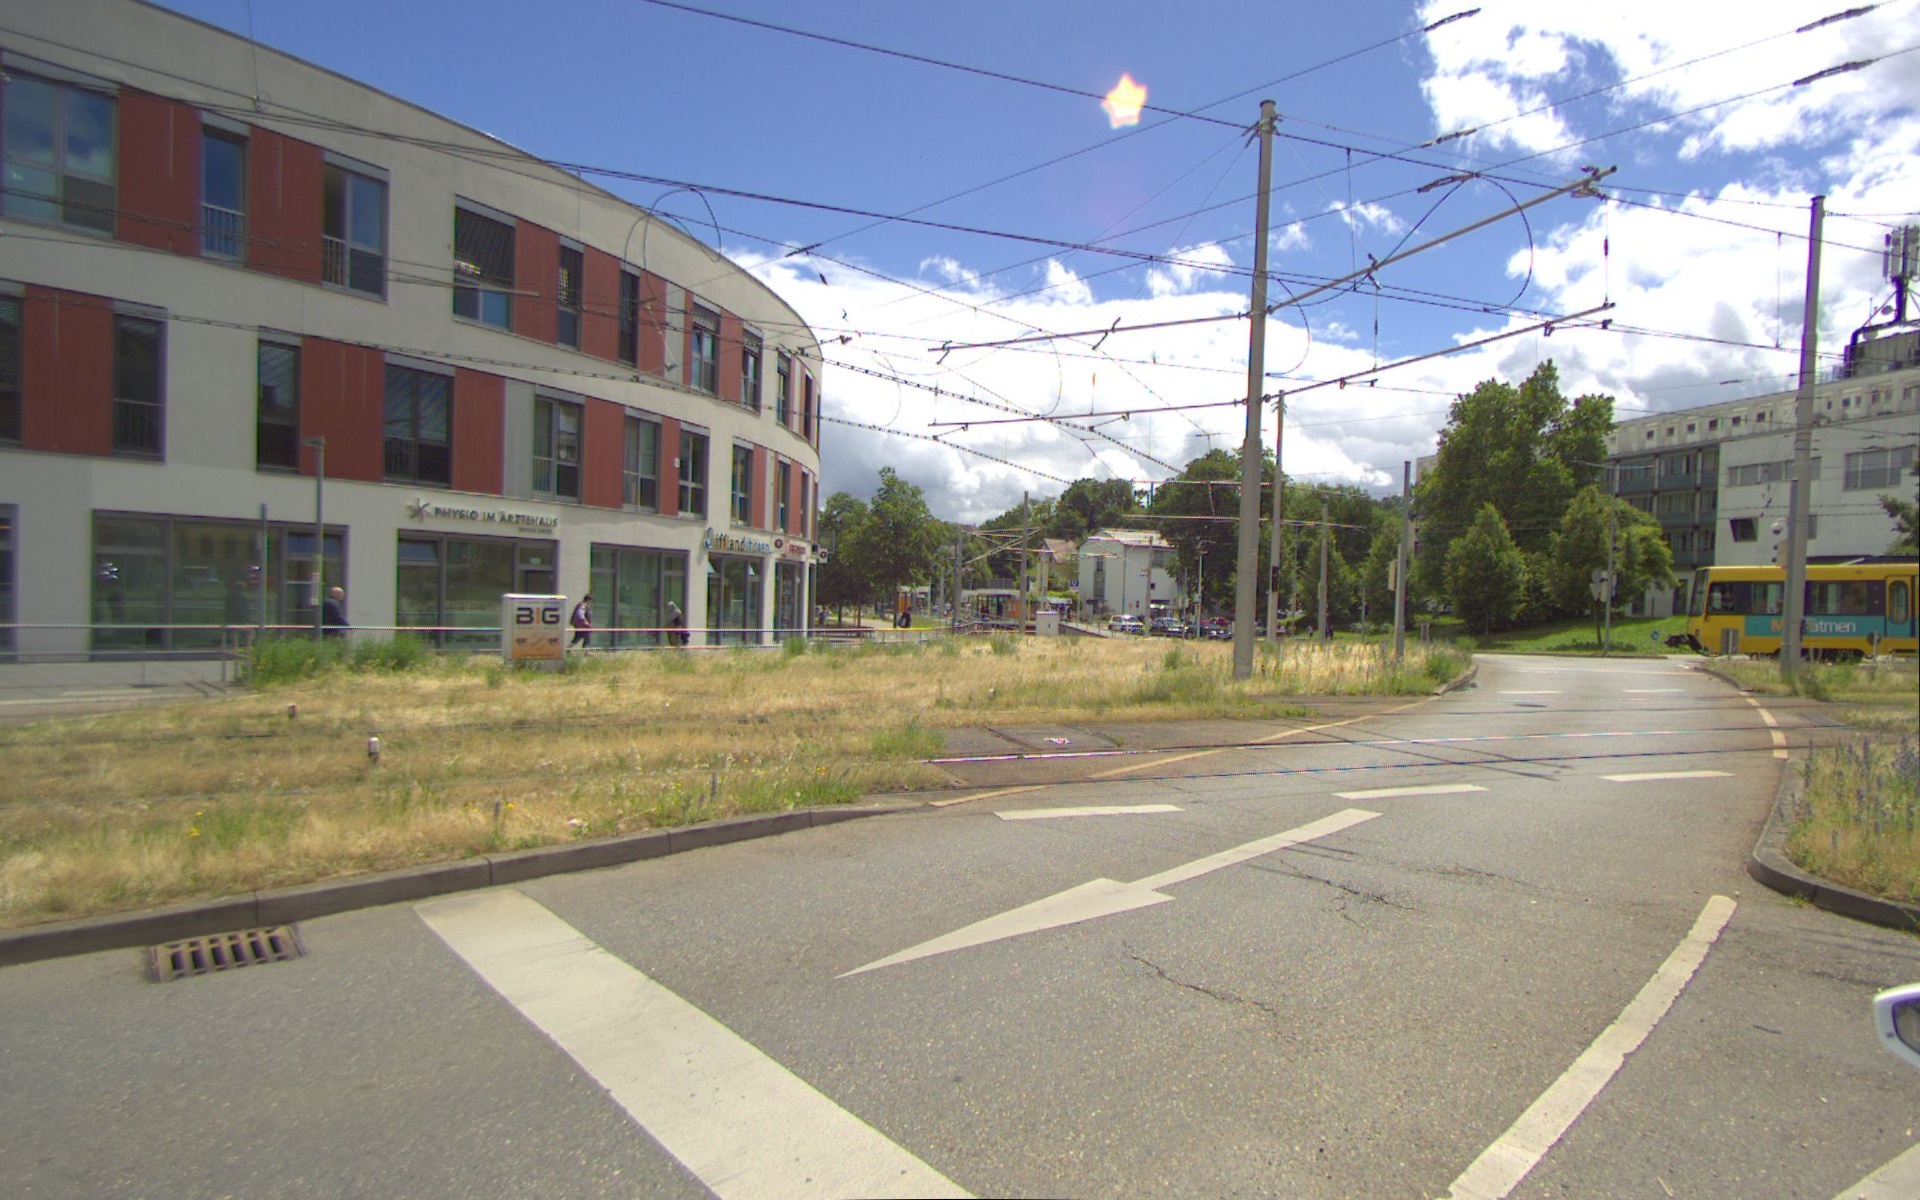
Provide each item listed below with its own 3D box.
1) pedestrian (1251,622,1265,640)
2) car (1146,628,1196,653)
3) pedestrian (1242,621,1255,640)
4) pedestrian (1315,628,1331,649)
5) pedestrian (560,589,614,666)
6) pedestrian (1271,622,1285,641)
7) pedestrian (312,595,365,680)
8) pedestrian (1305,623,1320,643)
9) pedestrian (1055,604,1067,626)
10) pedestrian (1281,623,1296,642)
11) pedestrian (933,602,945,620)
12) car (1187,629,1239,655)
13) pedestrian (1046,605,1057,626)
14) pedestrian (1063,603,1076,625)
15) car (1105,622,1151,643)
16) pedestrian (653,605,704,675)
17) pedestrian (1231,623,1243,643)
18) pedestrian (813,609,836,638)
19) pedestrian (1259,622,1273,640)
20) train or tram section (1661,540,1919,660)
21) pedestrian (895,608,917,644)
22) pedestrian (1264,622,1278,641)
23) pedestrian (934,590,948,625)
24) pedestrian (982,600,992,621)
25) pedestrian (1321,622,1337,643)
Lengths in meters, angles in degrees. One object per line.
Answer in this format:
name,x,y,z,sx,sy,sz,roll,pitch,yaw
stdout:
pedestrian,26.180,2.709,88.258,0.829,1.597,0.812,1,0,-21
car,15.697,2.995,74.879,1.887,1.672,4.242,2,-1,-15
pedestrian,25.224,2.674,87.812,0.829,1.597,0.812,1,0,-21
pedestrian,28.134,3.013,77.804,0.829,1.597,0.812,1,0,-21
pedestrian,-9.896,0.725,26.676,0.847,1.994,1.107,1,-1,12
pedestrian,26.432,2.606,83.484,0.829,1.597,0.812,1,0,-21
pedestrian,-11.908,0.707,19.239,0.725,1.601,0.687,0,-1,43
pedestrian,28.592,2.671,81.388,0.829,1.597,0.812,1,0,-21
pedestrian,8.281,1.232,82.301,0.823,1.755,0.796,1,0,-13
pedestrian,27.337,2.699,83.661,0.829,1.597,0.812,1,0,-21
pedestrian,-2.473,1.271,118.149,1.240,2.040,1.122,2,-1,-16
car,18.774,3.067,74.724,1.989,1.814,4.226,2,-1,-15
pedestrian,7.602,1.278,83.782,0.743,1.707,0.672,1,0,-13
pedestrian,8.817,1.128,80.899,0.823,1.714,0.616,1,0,-13
car,13.552,2.591,81.327,1.907,1.576,4.478,2,-1,-15
pedestrian,-8.314,1.174,29.697,0.849,1.994,1.114,1,-1,30
pedestrian,25.836,3.065,93.664,0.817,1.891,0.818,1,0,-13
pedestrian,-7.888,1.361,58.352,1.023,1.646,0.977,2,-1,-28
pedestrian,26.980,2.738,88.585,0.829,1.597,0.812,1,0,-21
train or tram section,35.025,0.087,33.599,18.546,3.970,3.757,1,-1,27
pedestrian,-2.523,1.195,46.734,0.847,1.646,0.733,1,-1,10
pedestrian,26.436,2.654,85.326,0.829,1.597,0.812,1,0,-21
pedestrian,-3.327,1.373,175.258,1.962,5.998,2.370,1,-1,-6
pedestrian,2.688,1.038,100.321,0.806,2.040,0.771,2,-1,-12
pedestrian,28.608,2.502,77.882,0.829,1.597,0.812,1,0,-21
